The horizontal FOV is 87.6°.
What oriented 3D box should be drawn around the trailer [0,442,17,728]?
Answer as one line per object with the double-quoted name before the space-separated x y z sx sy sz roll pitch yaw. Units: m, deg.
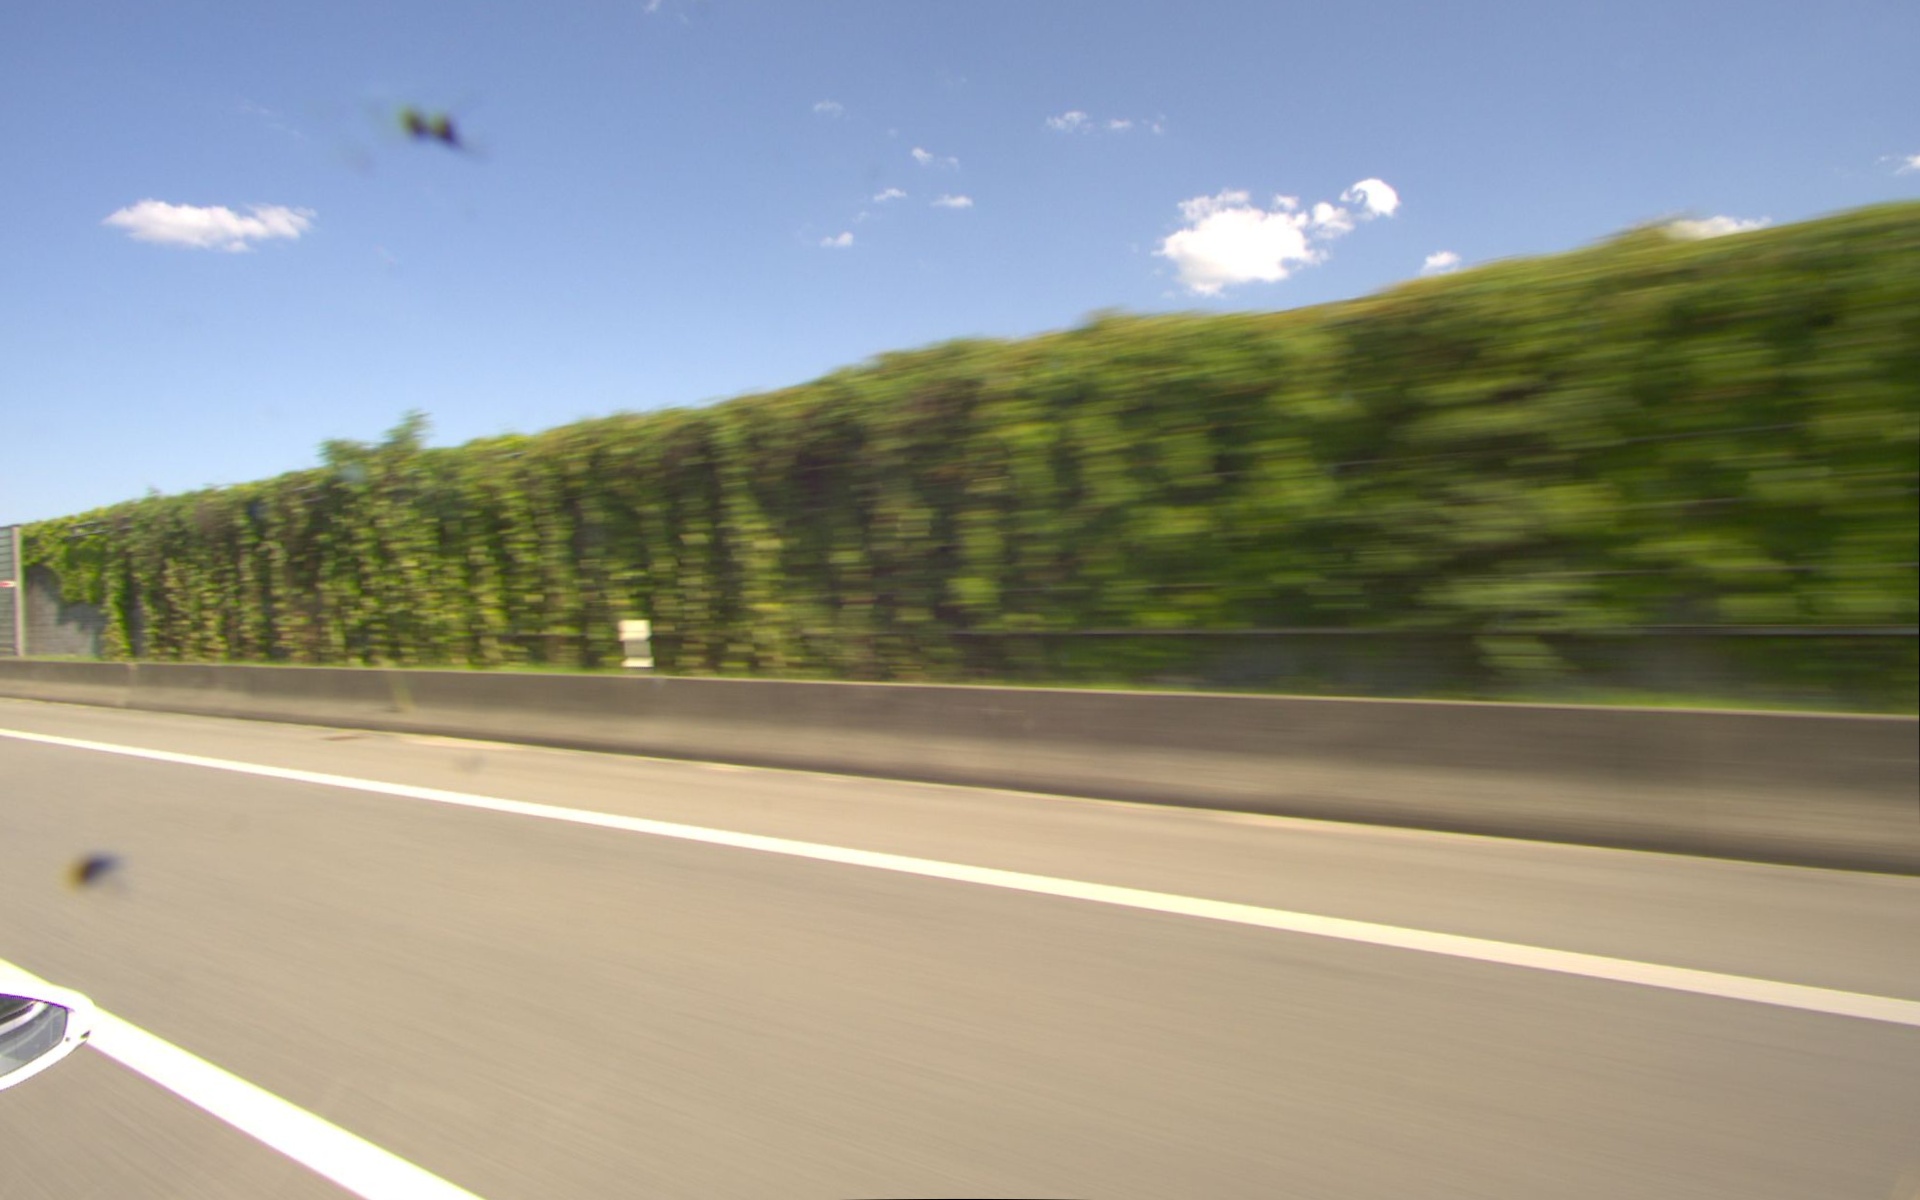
"trailer" -20.069 -0.085 16.746 13.958 4.020 2.811 -1 1 33
